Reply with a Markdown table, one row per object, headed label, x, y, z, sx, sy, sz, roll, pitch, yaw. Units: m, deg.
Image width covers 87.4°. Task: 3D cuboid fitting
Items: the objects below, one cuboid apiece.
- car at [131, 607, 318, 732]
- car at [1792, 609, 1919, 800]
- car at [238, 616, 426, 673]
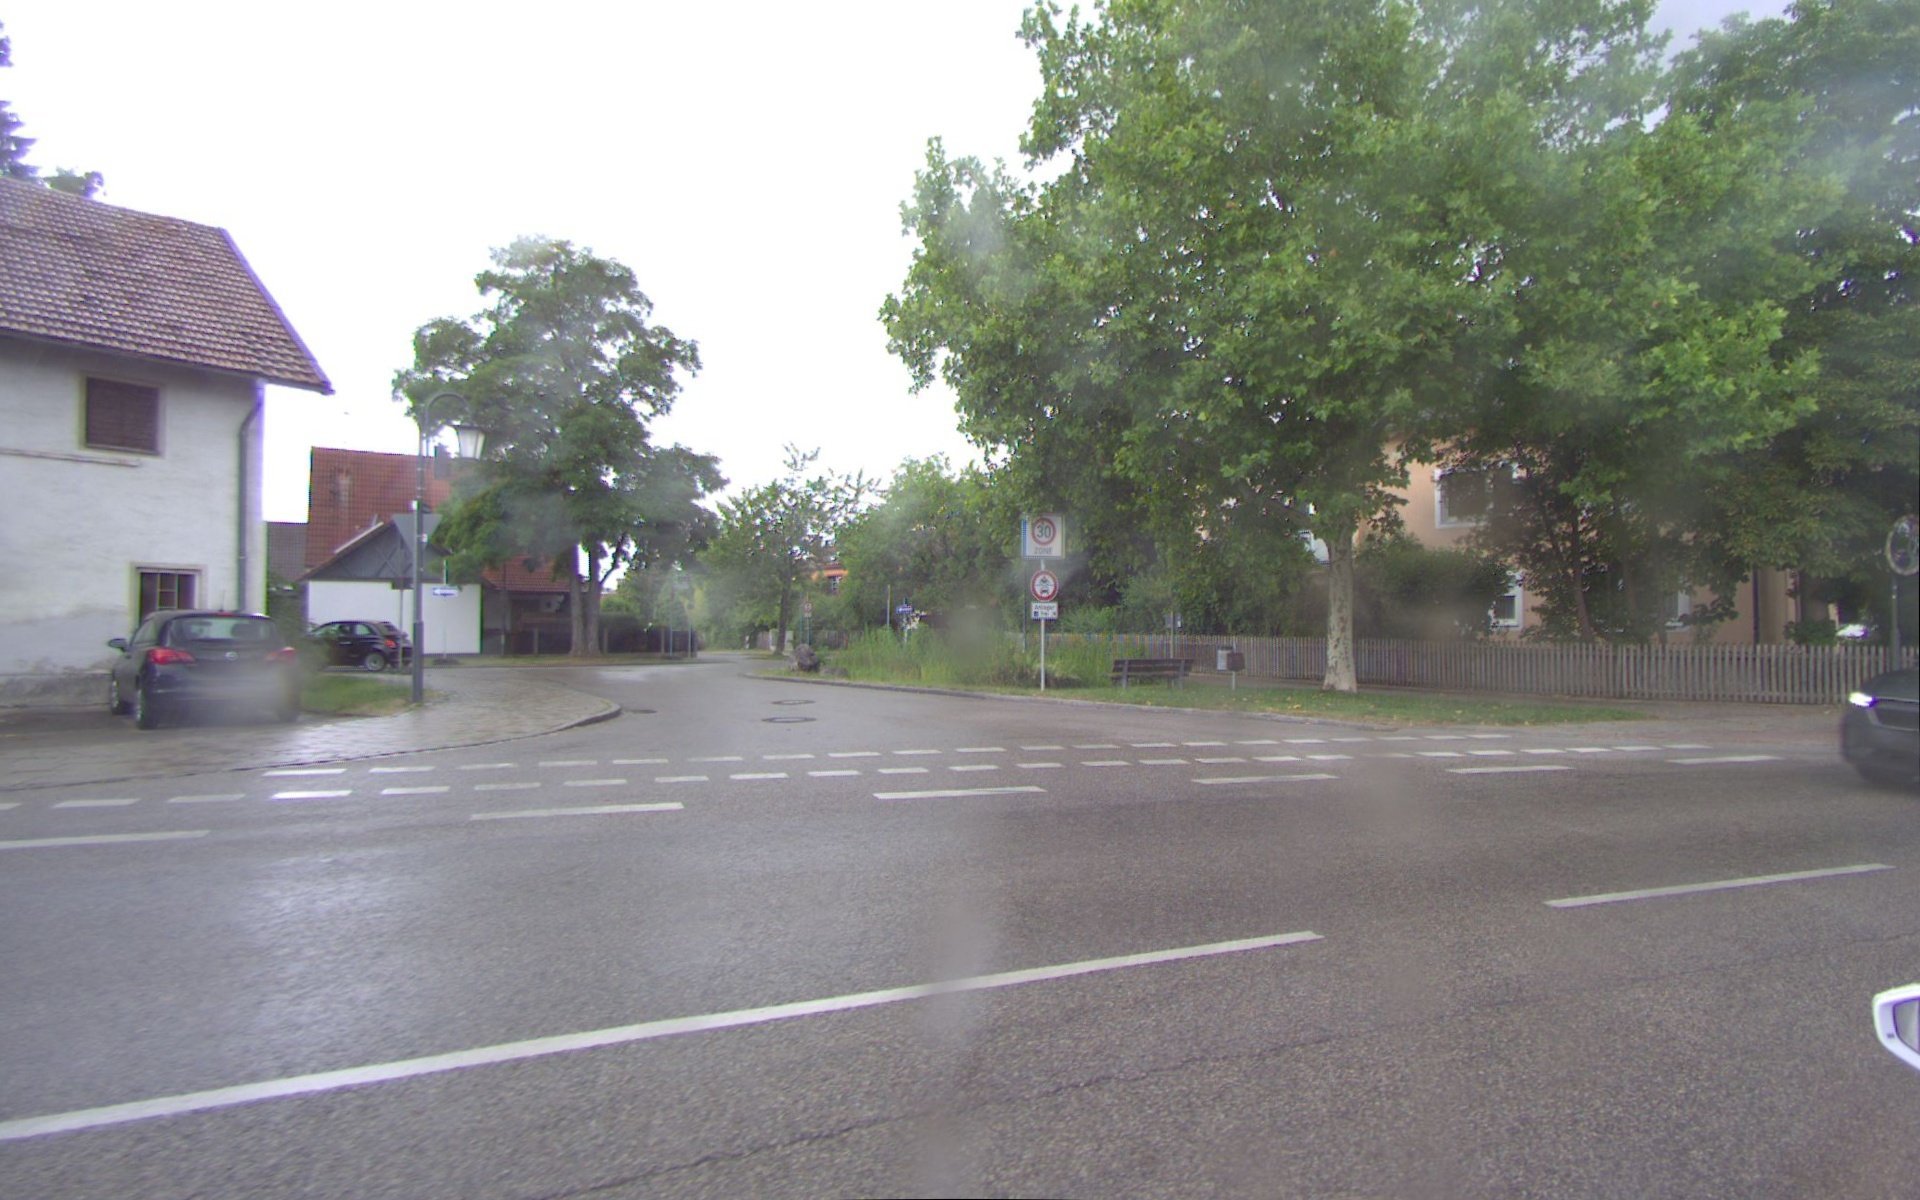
| label | x | y | z | sx | sy | sz | roll | pitch | yaw |
| --- | --- | --- | --- | --- | --- | --- | --- | --- | --- |
| car | -10.131 | 0.868 | 13.945 | 1.803 | 1.455 | 4.238 | 2 | -2 | -36 |
| car | 10.141 | 0.930 | 9.118 | 4.122 | 1.616 | 1.994 | 1 | 0 | -16 |
| car | -18.209 | 1.295 | 29.296 | 4.201 | 1.569 | 1.878 | 1 | -1 | -6 |
